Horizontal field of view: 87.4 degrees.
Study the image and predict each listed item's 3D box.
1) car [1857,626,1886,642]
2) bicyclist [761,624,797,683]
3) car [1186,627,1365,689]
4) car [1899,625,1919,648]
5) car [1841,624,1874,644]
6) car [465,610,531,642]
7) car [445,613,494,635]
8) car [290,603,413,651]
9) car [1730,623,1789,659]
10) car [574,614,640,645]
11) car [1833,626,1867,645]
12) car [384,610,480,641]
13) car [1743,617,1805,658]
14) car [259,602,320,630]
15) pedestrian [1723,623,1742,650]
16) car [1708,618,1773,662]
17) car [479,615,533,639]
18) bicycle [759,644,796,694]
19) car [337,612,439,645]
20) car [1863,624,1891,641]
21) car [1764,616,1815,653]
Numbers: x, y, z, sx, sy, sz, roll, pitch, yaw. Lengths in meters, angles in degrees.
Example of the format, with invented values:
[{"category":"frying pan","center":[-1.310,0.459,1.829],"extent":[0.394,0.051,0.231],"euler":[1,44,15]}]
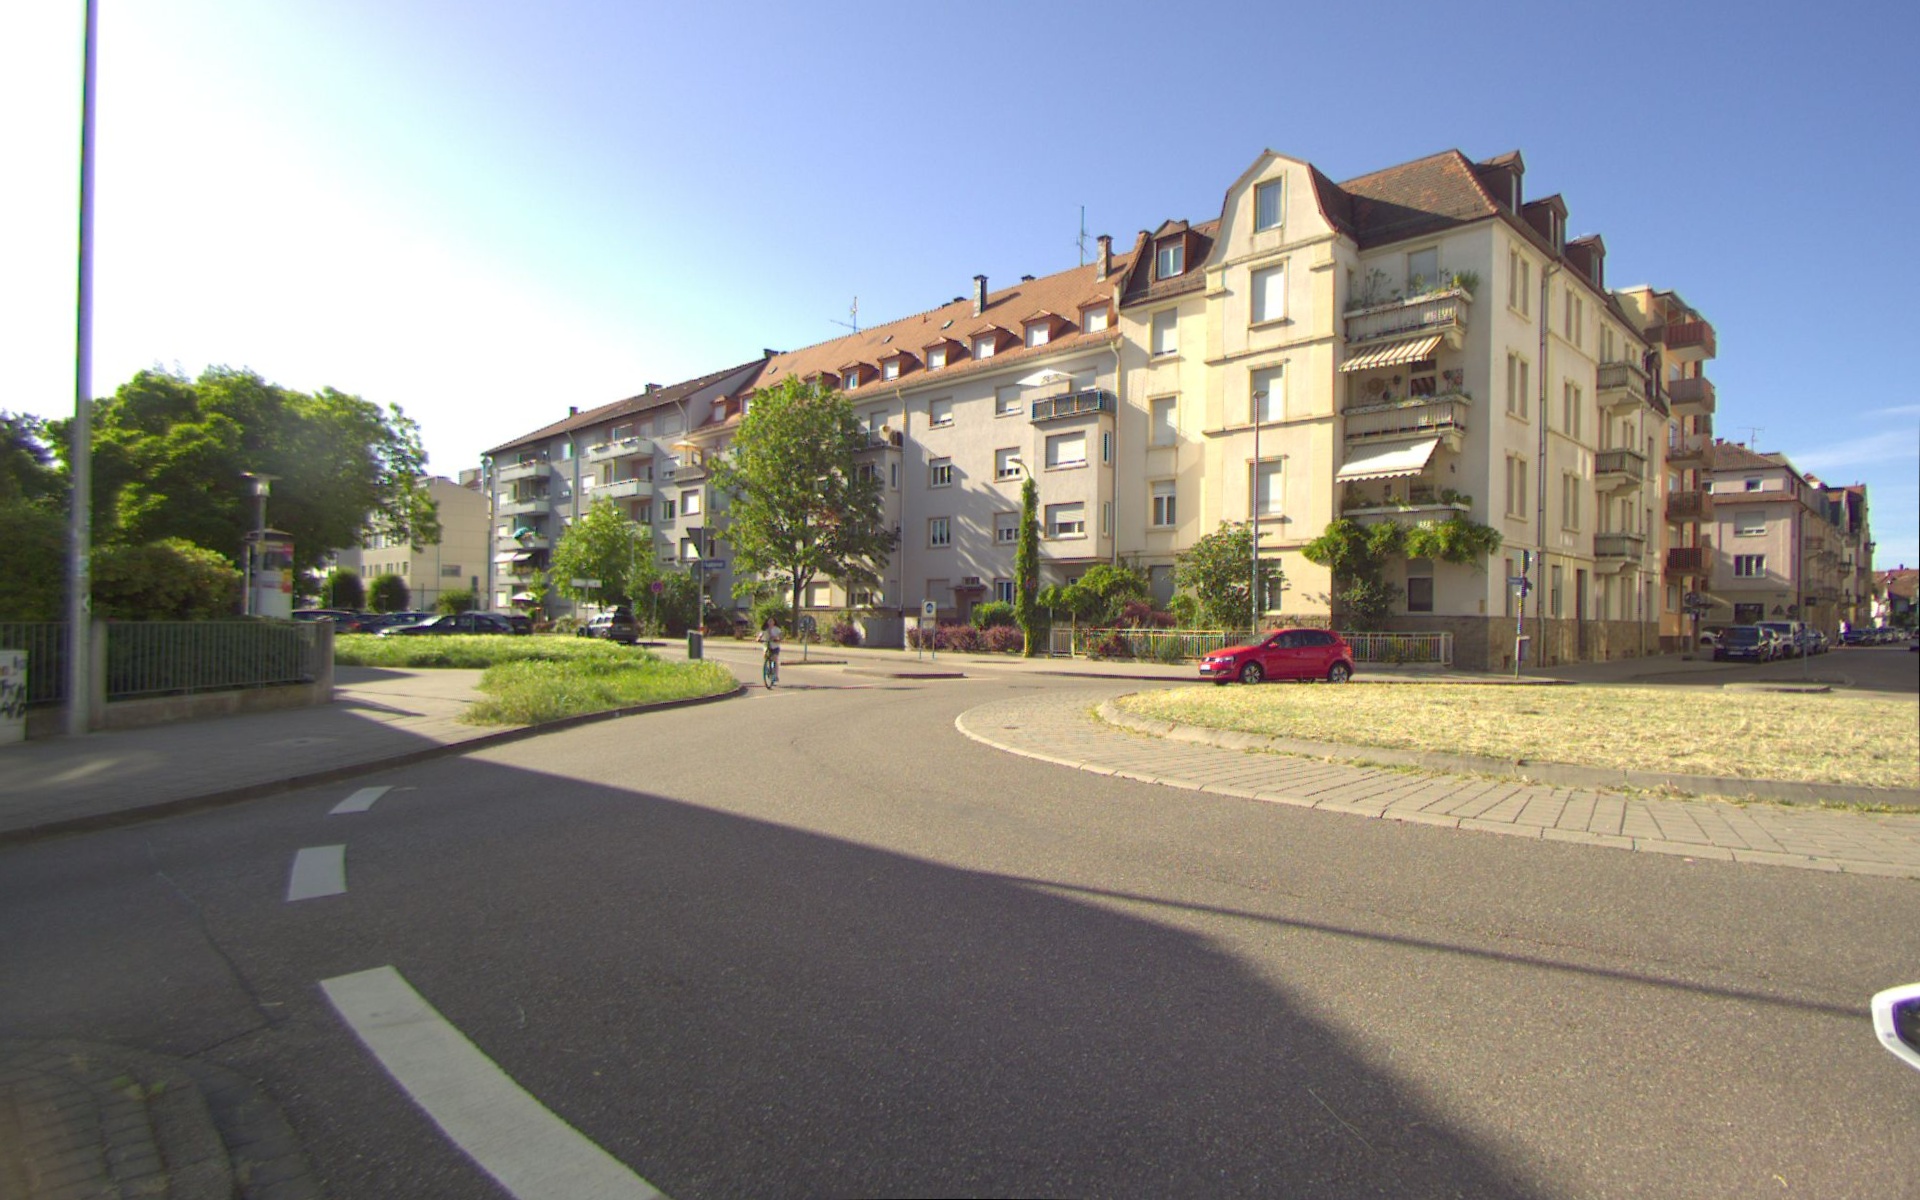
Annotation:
[{"category":"car","center":[93.004,3.486,102.518],"extent":[1.958,1.502,4.301],"euler":[3,0,45]},{"category":"bicyclist","center":[-4.292,1.259,23.813],"extent":[0.797,1.329,0.824],"euler":[2,0,-10]},{"category":"car","center":[7.868,1.416,25.183],"extent":[3.930,1.400,1.713],"euler":[-1,-1,-12]},{"category":"car","center":[65.099,2.490,68.181],"extent":[4.002,1.450,1.821],"euler":[4,-4,-44]},{"category":"car","center":[81.489,3.114,91.179],"extent":[1.983,1.603,4.459],"euler":[3,0,45]},{"category":"car","center":[-26.173,1.452,56.823],"extent":[4.212,1.718,1.871],"euler":[0,0,42]},{"category":"car","center":[-32.734,1.586,67.028],"extent":[1.839,1.398,3.948],"euler":[2,-1,-44]},{"category":"car","center":[-24.069,1.052,39.774],"extent":[3.965,1.795,1.978],"euler":[2,-1,-39]},{"category":"car","center":[38.822,1.951,48.731],"extent":[4.267,1.642,1.745],"euler":[2,0,-45]},{"category":"car","center":[-18.867,1.538,53.582],"extent":[1.839,1.559,3.948],"euler":[1,-1,-44]},{"category":"car","center":[74.127,2.935,83.640],"extent":[4.244,1.445,1.664],"euler":[3,0,-43]},{"category":"car","center":[-27.090,1.297,51.659],"extent":[1.823,1.506,3.982],"euler":[0,-1,39]},{"category":"car","center":[42.605,1.932,52.558],"extent":[5.275,1.951,1.955],"euler":[2,0,-45]},{"category":"car","center":[-38.707,0.926,57.982],"extent":[3.939,1.543,1.843],"euler":[0,-1,39]},{"category":"pedestrian","center":[52.534,2.471,68.319],"extent":[0.913,1.841,0.989],"euler":[1,0,42]},{"category":"car","center":[34.996,1.761,45.004],"extent":[4.266,1.794,1.745],"euler":[2,0,-45]},{"category":"car","center":[-28.301,1.680,62.502],"extent":[1.839,1.398,3.948],"euler":[2,-1,-44]},{"category":"bicycle","center":[-4.311,1.620,23.822],"extent":[0.797,1.028,2.206],"euler":[2,0,-10]},{"category":"car","center":[-27.289,1.361,47.976],"extent":[3.965,1.483,1.978],"euler":[2,-1,-39]},{"category":"car","center":[96.485,3.454,105.707],"extent":[1.983,1.640,4.459],"euler":[3,0,45]},{"category":"car","center":[47.230,1.935,57.154],"extent":[4.903,1.951,1.745],"euler":[2,0,-45]}]
